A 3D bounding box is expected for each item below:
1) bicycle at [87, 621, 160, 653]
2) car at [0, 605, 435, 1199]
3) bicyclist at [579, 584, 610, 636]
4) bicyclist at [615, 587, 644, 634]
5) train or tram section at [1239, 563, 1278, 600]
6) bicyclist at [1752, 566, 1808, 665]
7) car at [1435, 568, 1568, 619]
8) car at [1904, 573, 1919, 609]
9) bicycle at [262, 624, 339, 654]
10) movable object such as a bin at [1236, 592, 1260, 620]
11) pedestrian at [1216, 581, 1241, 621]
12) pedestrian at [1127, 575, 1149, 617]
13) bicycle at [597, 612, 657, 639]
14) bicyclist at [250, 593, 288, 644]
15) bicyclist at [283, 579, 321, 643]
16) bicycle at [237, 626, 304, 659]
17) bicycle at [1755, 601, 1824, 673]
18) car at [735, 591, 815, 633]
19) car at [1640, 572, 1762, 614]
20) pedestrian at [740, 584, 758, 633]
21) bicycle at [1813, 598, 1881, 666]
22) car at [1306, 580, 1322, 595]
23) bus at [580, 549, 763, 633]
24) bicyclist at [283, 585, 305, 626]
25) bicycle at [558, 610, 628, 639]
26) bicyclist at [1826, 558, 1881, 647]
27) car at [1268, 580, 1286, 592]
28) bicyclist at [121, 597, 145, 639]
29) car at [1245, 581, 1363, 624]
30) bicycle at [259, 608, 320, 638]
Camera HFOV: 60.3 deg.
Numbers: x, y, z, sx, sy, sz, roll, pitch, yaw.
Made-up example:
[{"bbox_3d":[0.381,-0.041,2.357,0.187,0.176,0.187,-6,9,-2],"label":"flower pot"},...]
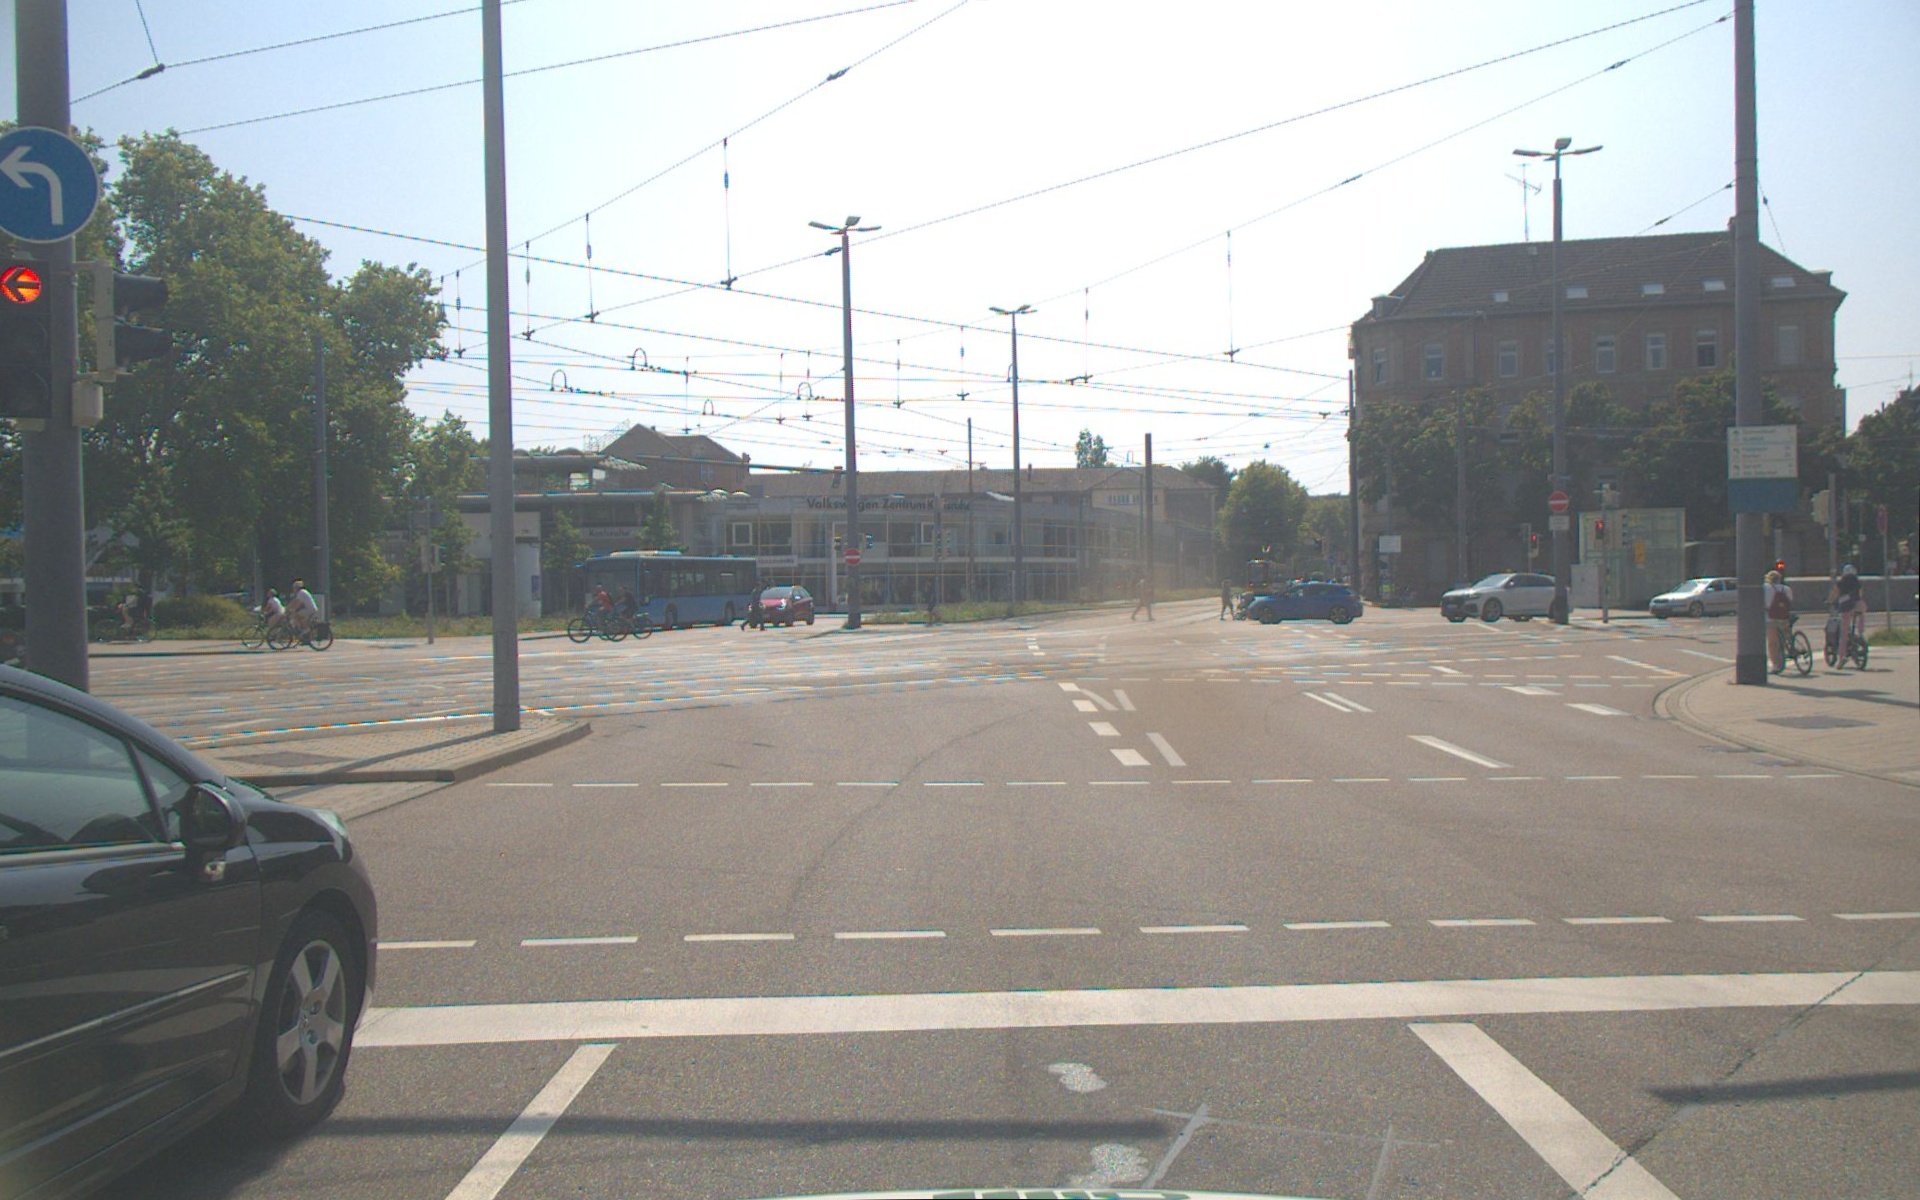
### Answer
[{"bbox_3d":[-26.374,1.161,52.168,1.998,0.958,0.466,-1,0,-14],"label":"bicycle"},{"bbox_3d":[-2.607,0.741,3.330,1.729,1.412,3.782,1,0,3],"label":"car"},{"bbox_3d":[-10.911,0.290,49.387,0.856,1.509,0.496,-1,0,-14],"label":"bicyclist"},{"bbox_3d":[-10.650,0.334,53.271,0.858,1.501,0.543,-1,0,-19],"label":"bicyclist"},{"bbox_3d":[30.346,-1.845,167.701,2.534,3.578,10.904,-1,0,17],"label":"train or tram section"},{"bbox_3d":[13.064,0.244,26.376,0.614,1.544,0.712,-1,0,11],"label":"bicyclist"},{"bbox_3d":[18.514,-0.240,56.556,4.265,1.646,1.741,-1,0,-24],"label":"car"},{"bbox_3d":[41.155,-0.397,67.723,4.685,1.440,1.765,-1,0,-21],"label":"car"},{"bbox_3d":[-19.165,1.138,48.081,2.014,0.816,0.478,-1,0,-14],"label":"bicycle"},{"bbox_3d":[11.476,0.221,65.920,0.798,1.096,0.510,-1,0,-12],"label":"movable object such as a bin"},{"bbox_3d":[10.675,0.031,65.799,0.834,1.572,0.527,-1,0,-9],"label":"pedestrian"},{"bbox_3d":[7.003,-0.153,65.060,0.687,1.631,0.572,-1,0,-9],"label":"pedestrian"},{"bbox_3d":[-10.715,0.806,53.234,1.828,0.816,0.604,-1,0,-20],"label":"bicycle"},{"bbox_3d":[-20.816,0.553,49.835,0.891,1.534,0.559,-1,0,-1],"label":"bicyclist"},{"bbox_3d":[-19.123,0.326,48.081,0.908,1.839,0.496,-1,0,-14],"label":"bicyclist"},{"bbox_3d":[-20.775,1.271,49.842,1.777,0.958,0.567,-1,0,-3],"label":"bicycle"},{"bbox_3d":[13.078,0.571,26.108,0.525,1.073,1.655,-1,0,11],"label":"bicycle"},{"bbox_3d":[-7.265,0.461,65.337,1.713,1.579,4.003,-1,0,17],"label":"car"},{"bbox_3d":[26.977,-0.268,60.213,4.120,1.440,1.763,-1,1,-24],"label":"car"},{"bbox_3d":[-7.512,0.298,58.954,0.544,1.713,0.451,-1,0,-20],"label":"pedestrian"},{"bbox_3d":[14.667,0.513,27.380,0.525,1.073,1.655,-1,0,11],"label":"bicycle"},{"bbox_3d":[46.941,-1.665,219.182,1.781,1.841,4.002,1,0,16],"label":"car"},{"bbox_3d":[-11.626,-0.377,68.362,2.508,3.136,12.032,-1,0,16],"label":"bus"},{"bbox_3d":[-21.850,0.173,54.268,0.535,1.316,0.557,-1,0,-13],"label":"bicyclist"},{"bbox_3d":[-10.959,0.716,49.406,2.014,0.816,0.478,-1,0,-14],"label":"bicycle"},{"bbox_3d":[14.574,0.032,26.993,0.519,1.417,0.894,-1,0,11],"label":"bicyclist"},{"bbox_3d":[42.241,-1.898,220.311,1.760,1.534,4.002,-1,0,19],"label":"car"},{"bbox_3d":[-26.080,0.567,52.185,0.535,1.316,0.557,-1,0,-13],"label":"bicyclist"},{"bbox_3d":[12.070,0.097,57.982,3.903,1.418,1.597,-1,0,18],"label":"car"},{"bbox_3d":[-21.997,0.751,54.298,1.783,0.958,0.414,-1,0,-14],"label":"bicycle"}]
